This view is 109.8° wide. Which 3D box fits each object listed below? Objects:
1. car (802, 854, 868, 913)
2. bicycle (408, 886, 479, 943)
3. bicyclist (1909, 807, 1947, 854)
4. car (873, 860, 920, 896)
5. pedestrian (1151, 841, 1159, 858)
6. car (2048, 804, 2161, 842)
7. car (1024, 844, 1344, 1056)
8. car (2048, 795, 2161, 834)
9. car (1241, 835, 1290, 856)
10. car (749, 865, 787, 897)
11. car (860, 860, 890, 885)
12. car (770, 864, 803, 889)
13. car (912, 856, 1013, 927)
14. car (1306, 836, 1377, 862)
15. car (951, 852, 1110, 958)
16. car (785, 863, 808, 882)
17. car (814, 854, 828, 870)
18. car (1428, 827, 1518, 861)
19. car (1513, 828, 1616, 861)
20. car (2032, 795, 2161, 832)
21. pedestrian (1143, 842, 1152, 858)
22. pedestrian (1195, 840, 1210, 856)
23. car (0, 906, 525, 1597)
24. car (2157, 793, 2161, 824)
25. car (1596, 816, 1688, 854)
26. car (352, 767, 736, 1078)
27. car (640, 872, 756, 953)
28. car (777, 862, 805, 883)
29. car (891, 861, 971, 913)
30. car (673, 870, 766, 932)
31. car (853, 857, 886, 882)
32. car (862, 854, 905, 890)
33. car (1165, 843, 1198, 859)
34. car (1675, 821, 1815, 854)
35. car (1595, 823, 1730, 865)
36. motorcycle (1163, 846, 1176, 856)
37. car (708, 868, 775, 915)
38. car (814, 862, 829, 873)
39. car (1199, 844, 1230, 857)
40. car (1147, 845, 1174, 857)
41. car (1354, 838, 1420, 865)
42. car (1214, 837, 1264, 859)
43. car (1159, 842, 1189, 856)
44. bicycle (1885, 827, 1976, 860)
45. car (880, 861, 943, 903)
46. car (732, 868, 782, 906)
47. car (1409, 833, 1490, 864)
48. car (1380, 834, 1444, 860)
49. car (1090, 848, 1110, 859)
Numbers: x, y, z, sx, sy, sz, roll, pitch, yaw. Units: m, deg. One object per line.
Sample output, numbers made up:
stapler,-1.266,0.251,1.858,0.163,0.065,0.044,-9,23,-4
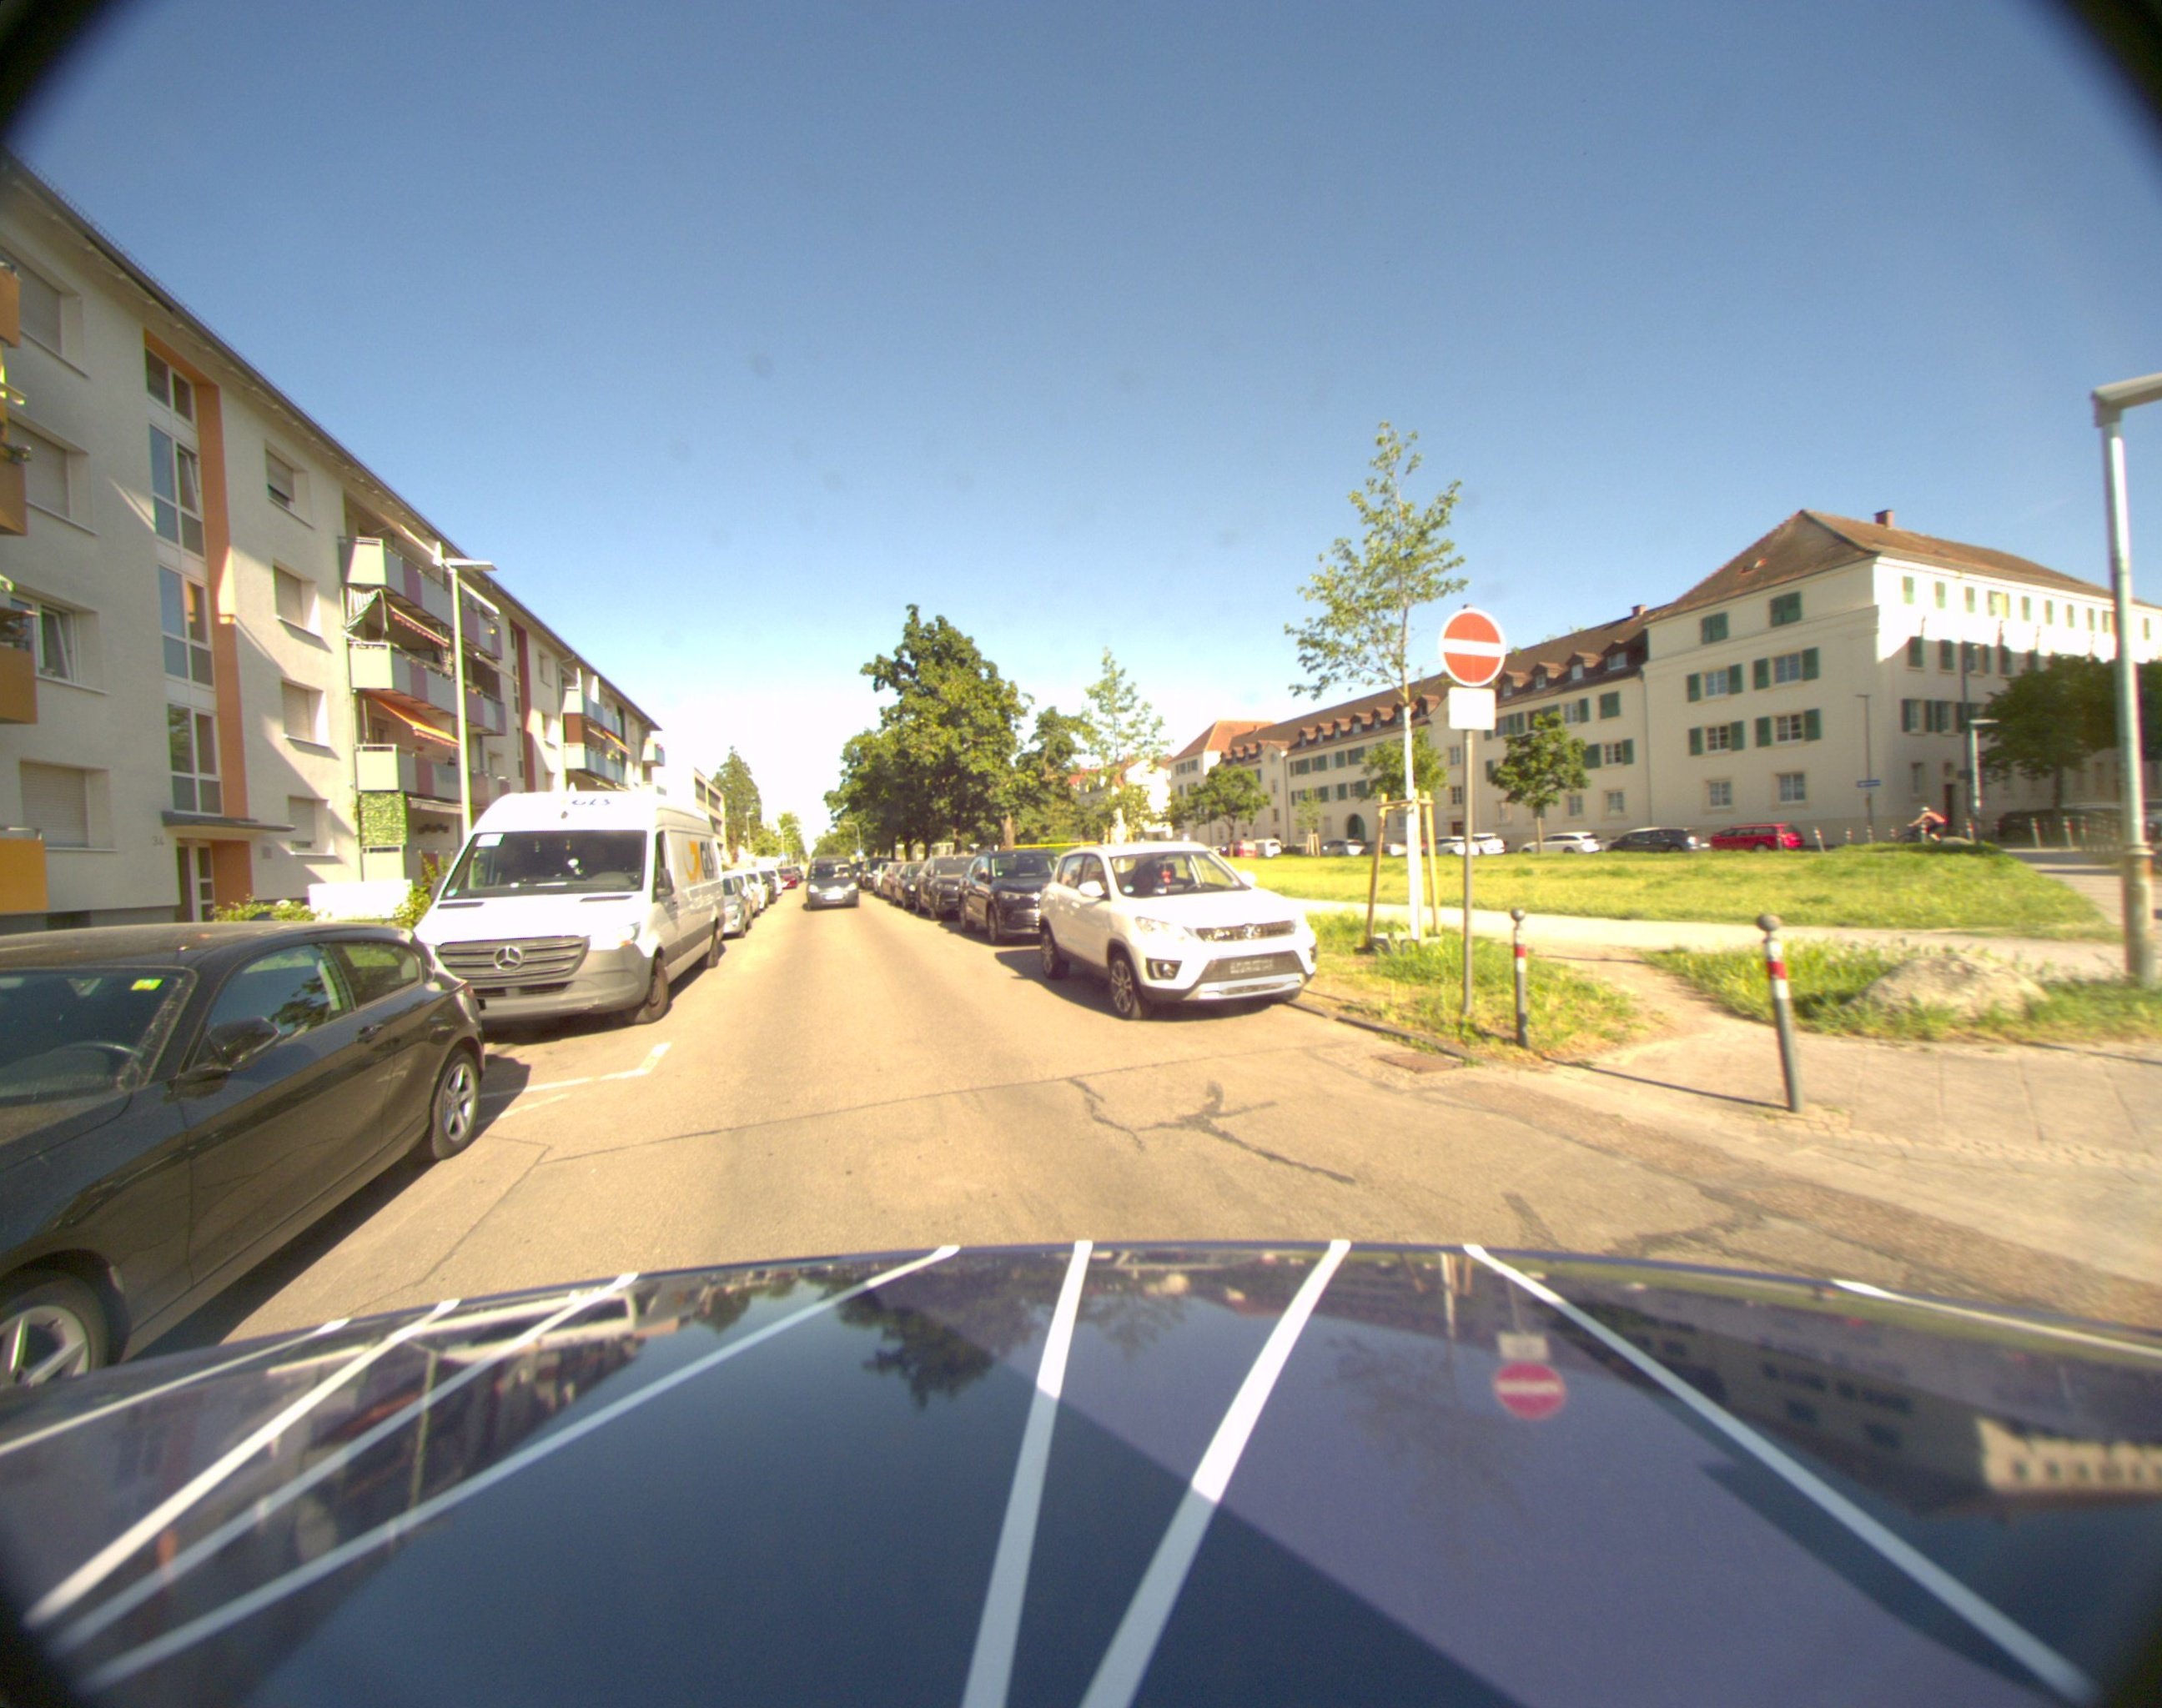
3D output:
car,-8.520,0.953,26.171,1.905,1.779,4.150,-3,0,-20
bicycle,-15.551,1.448,18.592,0.598,1.169,2.010,-3,2,-20
bicyclist,33.910,-0.933,30.424,0.676,1.792,0.800,-3,1,-20
car,-8.298,1.044,33.947,1.593,1.484,3.679,-1,0,-20
pedestrian,7.692,-0.476,79.368,0.545,1.675,0.673,-3,1,-14
car,45.600,-1.370,33.262,1.714,1.512,3.661,-3,1,-20
car,0.754,0.766,8.289,1.763,1.637,4.280,-1,0,-18
car,49.905,-1.899,36.323,1.708,1.691,4.235,-3,1,-22
car,19.038,-0.822,78.738,2.230,1.973,5.248,-3,1,-21
car,-16.627,1.382,40.418,1.755,1.490,3.854,-3,1,-22
car,-13.040,1.137,48.043,1.544,1.420,4.081,-3,1,-18
car,-19.722,1.461,50.961,1.851,1.464,5.057,-3,1,-20
car,-3.289,0.889,20.210,1.827,1.600,4.731,-1,0,-19
car,20.186,-0.393,59.188,2.460,1.810,5.445,-3,1,-18
car,-1.166,0.820,14.512,1.850,1.629,4.707,-1,0,-19
car,-24.865,1.554,66.460,1.665,1.465,3.786,-5,1,-19
car,-46.602,1.434,136.274,2.077,2.583,6.193,-3,1,-18
car,27.939,-0.649,54.364,2.541,2.203,5.248,-3,1,-21
car,30.148,-0.574,47.547,2.162,1.875,5.150,-3,1,-19
car,47.767,-1.879,35.633,1.710,1.512,3.609,-3,1,-23
pedestrian,6.926,-0.432,79.160,0.545,1.675,0.749,-3,1,-17
pedestrian,15.029,-0.703,94.165,1.345,1.952,1.161,-3,1,-25
car,-4.050,1.104,2.831,1.967,1.473,4.491,-1,0,-20
car,58.780,-2.480,39.107,1.834,1.631,3.609,-3,1,-23
car,31.672,-1.030,42.990,1.672,2.002,3.890,-3,1,-20
car,-6.262,0.594,10.150,2.151,2.697,6.831,-1,0,-18
car,-8.756,1.239,17.706,1.856,1.457,4.195,-4,1,-20
car,-23.325,1.485,61.211,1.776,1.521,4.550,-3,1,-18
car,-5.010,0.993,24.929,1.881,1.510,4.463,-1,0,-20
car,-10.381,1.285,22.096,1.885,1.467,4.133,-3,1,-19
car,-15.043,1.042,53.971,2.034,1.616,4.750,-2,0,-18
car,-11.055,0.934,42.297,1.872,1.774,4.983,-3,1,-19
car,11.057,-0.323,83.945,1.796,1.574,4.228,-3,1,-20
car,33.278,-0.779,38.289,2.002,1.476,4.950,-2,0,-20
car,27.981,-0.464,36.771,2.167,1.810,4.697,-3,1,-21
motorcycle,12.419,-0.414,106.501,0.819,1.298,2.141,-3,1,-21
car,-12.053,1.280,27.197,1.728,1.427,4.146,-3,0,-19
car,-32.784,1.700,96.001,1.655,1.324,4.927,-3,1,-18
car,15.495,-0.368,88.643,1.776,1.348,3.993,-3,1,-20
car,9.278,-0.332,88.982,1.657,1.325,3.509,-3,1,-20
car,21.858,-0.166,54.422,2.326,1.740,4.003,-3,1,-18
car,15.206,-0.547,73.475,2.229,1.973,5.249,-3,1,-19
car,14.045,-0.794,114.694,3.818,1.944,2.040,-3,1,-17
bicycle,33.948,-0.402,30.419,0.845,1.255,2.254,-3,1,-20
car,-6.715,1.023,29.801,1.763,1.483,4.660,-1,0,-20
car,-13.724,1.353,32.357,1.706,1.427,4.464,-1,0,-20
car,23.732,-0.320,49.066,2.245,1.810,4.250,-3,1,-21
car,25.932,-0.512,59.638,2.273,1.894,4.160,-3,1,-20
car,3.011,-0.090,123.857,1.958,1.783,3.994,-3,1,-18
